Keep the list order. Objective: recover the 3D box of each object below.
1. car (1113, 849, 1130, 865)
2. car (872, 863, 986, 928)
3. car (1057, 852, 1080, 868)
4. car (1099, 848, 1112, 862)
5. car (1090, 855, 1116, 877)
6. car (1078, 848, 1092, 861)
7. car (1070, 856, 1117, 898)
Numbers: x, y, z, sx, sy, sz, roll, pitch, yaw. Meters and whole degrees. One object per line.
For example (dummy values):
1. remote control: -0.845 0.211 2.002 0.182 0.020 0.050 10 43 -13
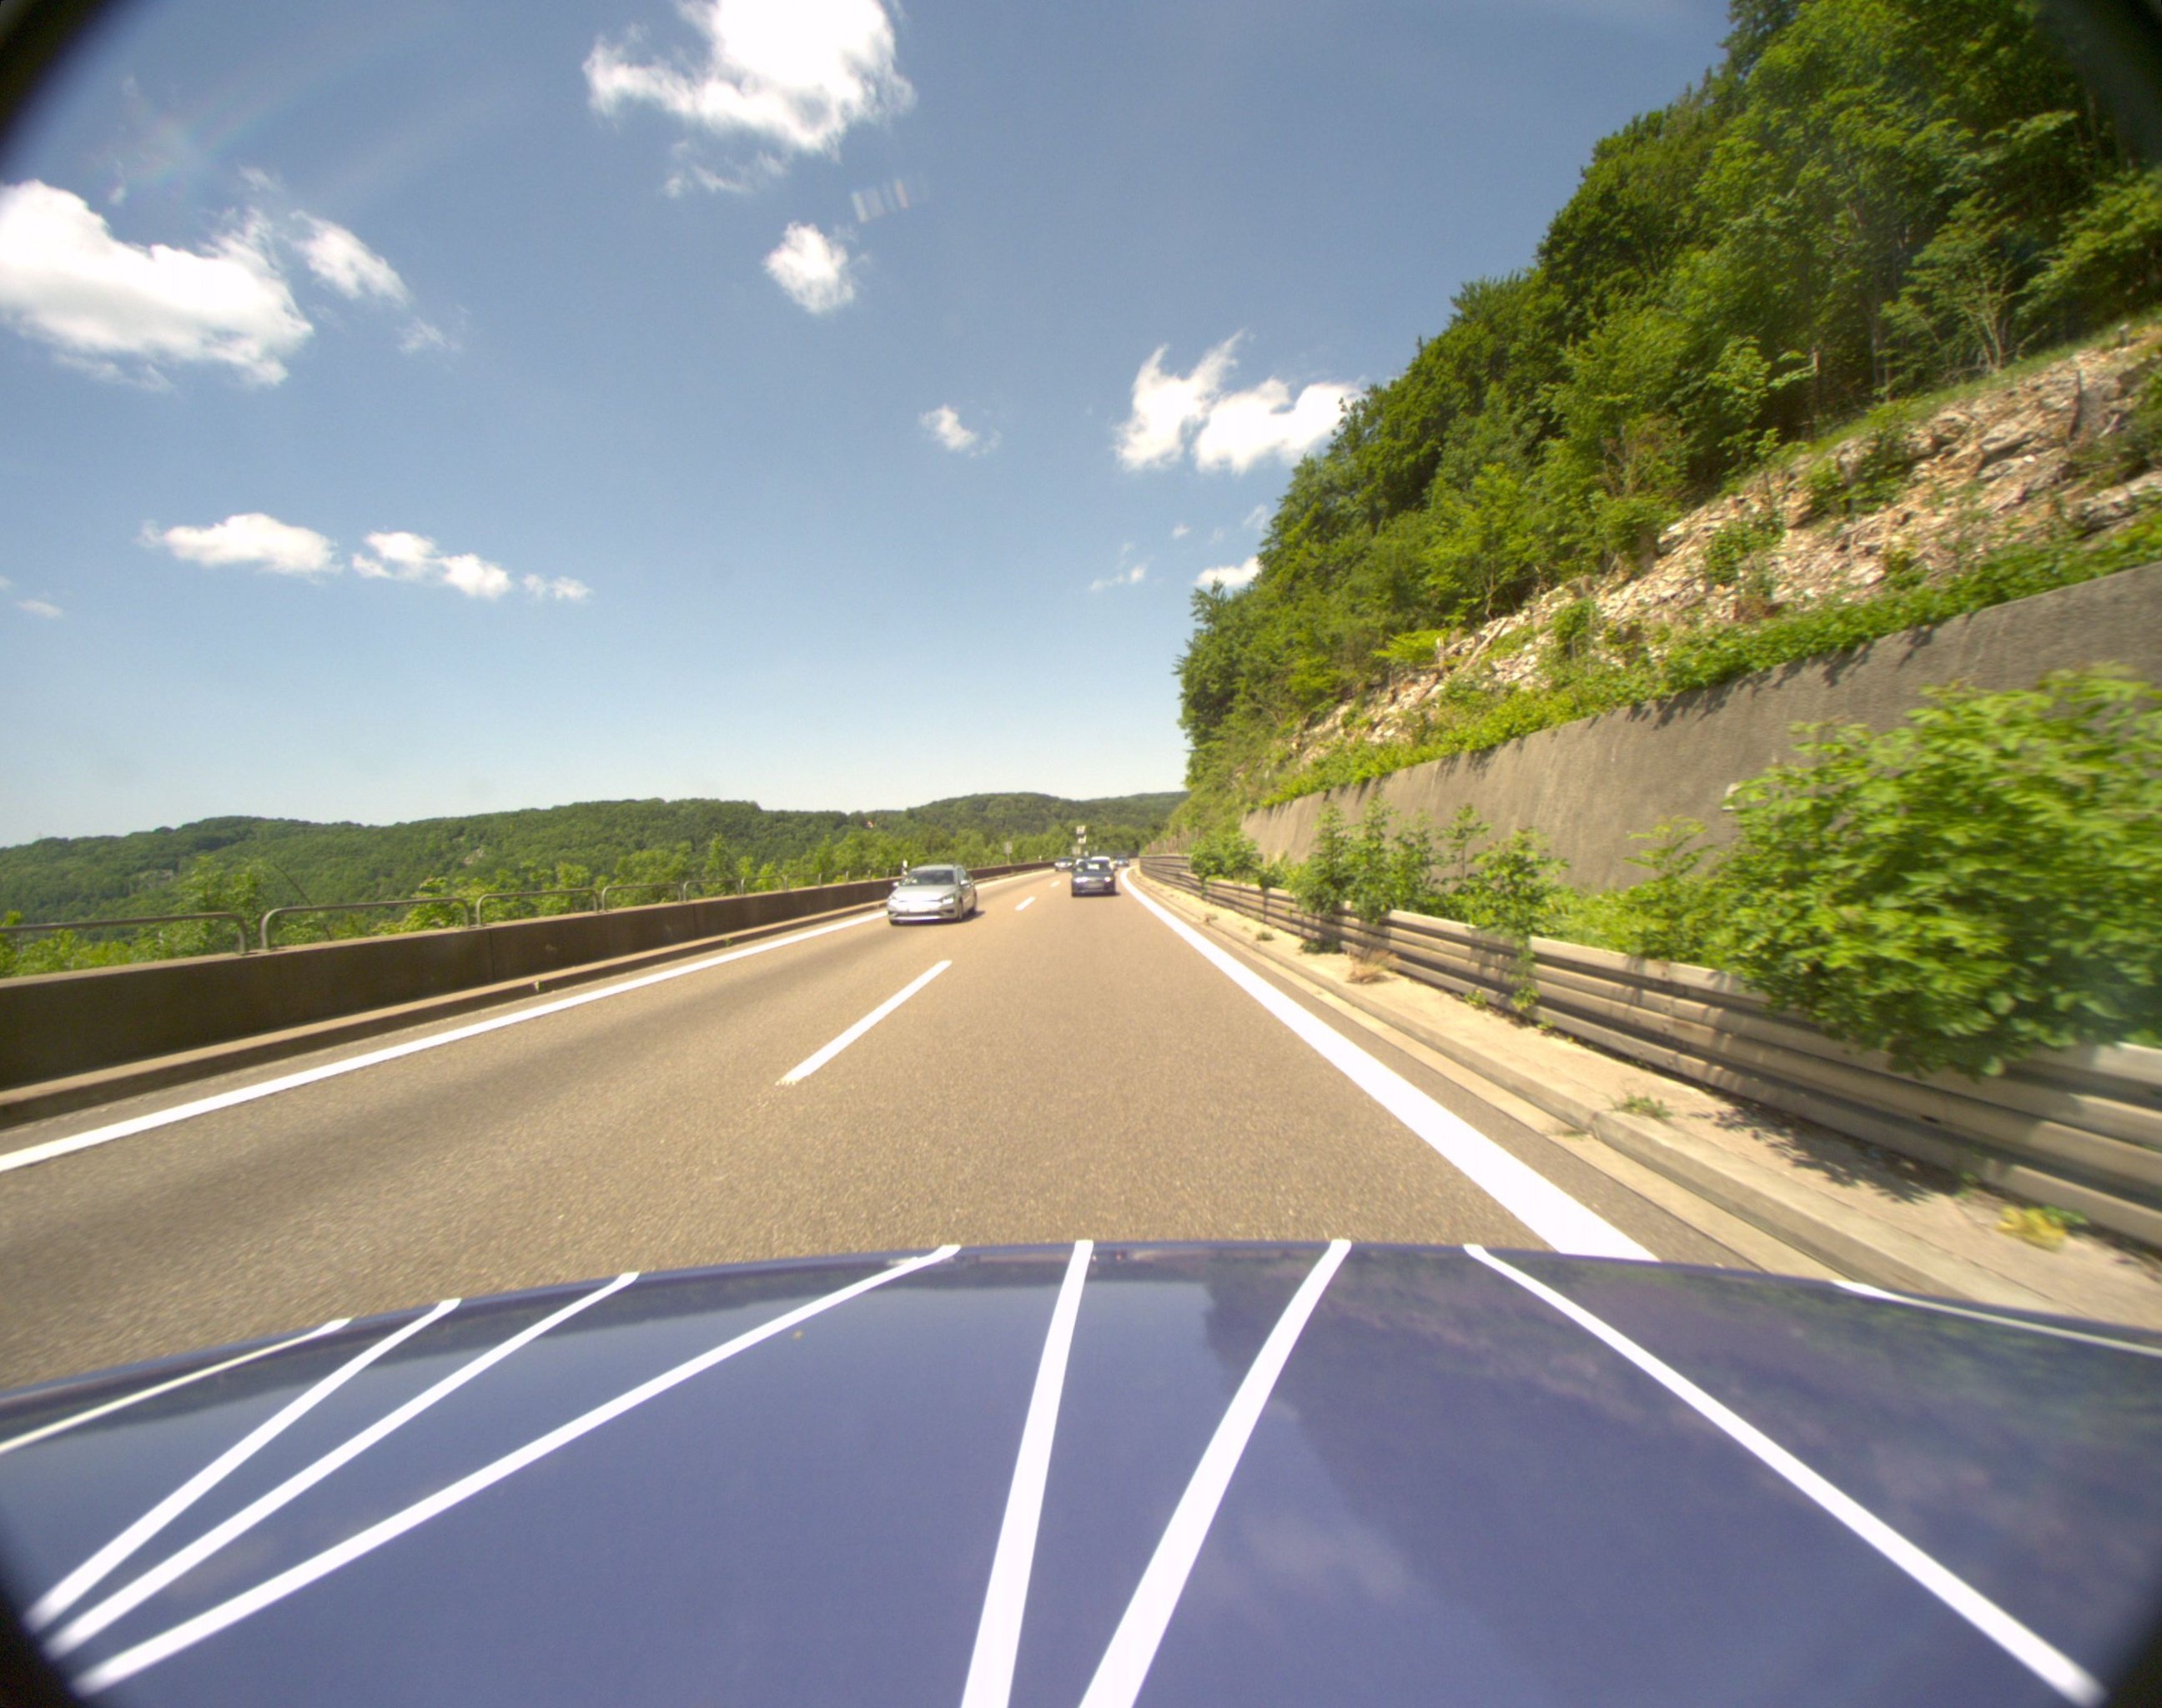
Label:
1. car: 5.257 0.406 98.206 1.998 2.002 4.001 -1 0 4
2. car: -3.881 1.017 20.204 1.972 1.370 4.294 -2 1 2
3. car: -1.232 0.634 78.579 1.875 1.565 4.001 -2 0 5
4. car: 3.725 0.162 115.960 1.998 2.002 4.000 0 1 1
5. car: 1.576 0.803 53.679 1.703 1.432 4.044 0 1 4
6. car: 0.482 0.060 100.113 1.776 1.565 3.999 -2 0 -1
7. car: 0.569 0.847 29.958 1.669 1.415 4.044 -2 1 3
